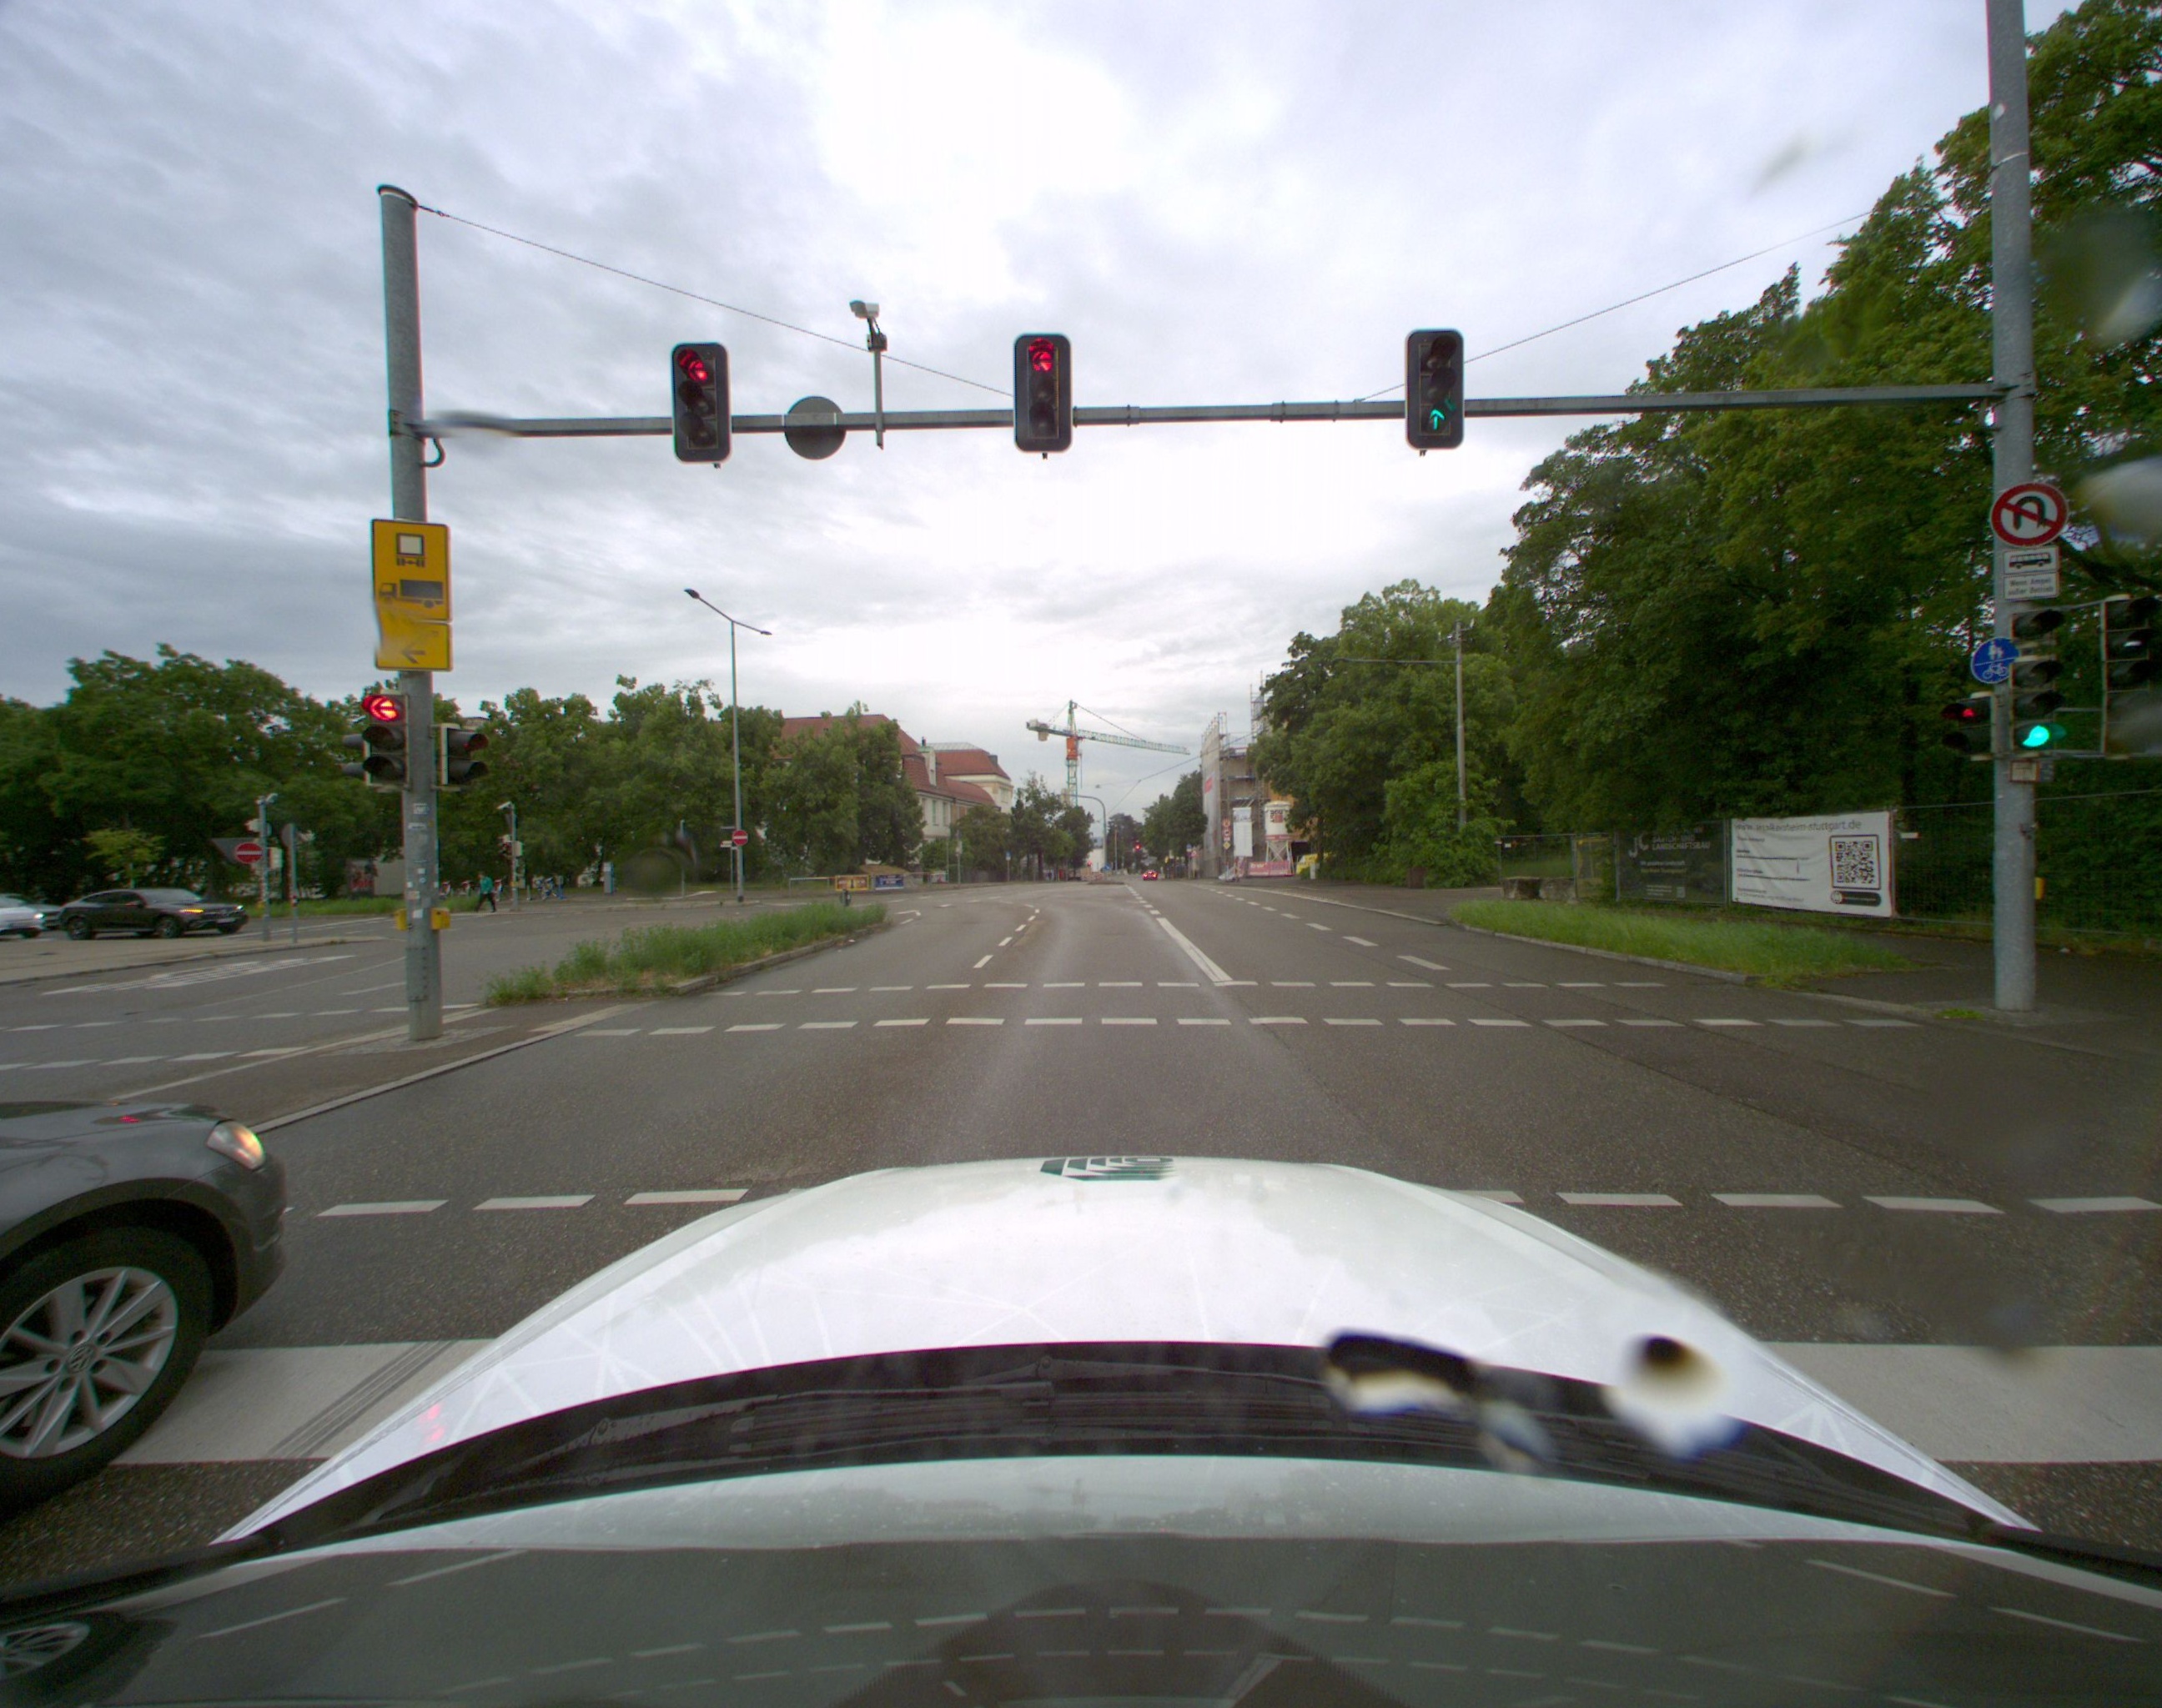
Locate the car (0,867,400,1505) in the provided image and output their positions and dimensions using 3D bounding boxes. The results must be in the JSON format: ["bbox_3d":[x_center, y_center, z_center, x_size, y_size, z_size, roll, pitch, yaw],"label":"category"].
[{"bbox_3d":[-3.491,0.807,0.818,1.809,1.481,4.378,-2,0,2],"label":"car"}]

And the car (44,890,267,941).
[{"bbox_3d":[-30.077,1.987,26.585,5.006,1.500,2.001,0,-1,1],"label":"car"}]

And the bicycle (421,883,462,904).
[{"bbox_3d":[-34.988,2.145,44.580,0.649,1.071,1.982,0,-1,2],"label":"bicycle"}]

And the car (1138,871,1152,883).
[{"bbox_3d":[10.197,3.659,130.655,1.986,1.750,4.001,-2,0,1],"label":"car"}]

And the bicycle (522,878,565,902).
[{"bbox_3d":[-29.436,1.957,44.614,0.987,1.249,1.982,0,-1,2],"label":"bicycle"}]

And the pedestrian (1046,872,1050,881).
[{"bbox_3d":[-5.153,3.441,126.866,0.473,1.396,0.411,-2,0,1],"label":"pedestrian"}]

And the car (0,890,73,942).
[{"bbox_3d":[-36.498,2.040,27.050,3.539,1.594,2.001,0,-1,1],"label":"car"}]

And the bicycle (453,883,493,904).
[{"bbox_3d":[-33.019,2.121,44.274,0.649,1.071,1.982,0,-1,2],"label":"bicycle"}]

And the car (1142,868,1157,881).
[{"bbox_3d":[10.511,3.147,124.842,1.986,1.750,4.001,-2,0,1],"label":"car"}]

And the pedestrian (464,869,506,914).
[{"bbox_3d":[-23.385,1.444,31.977,0.917,1.727,0.949,-1,-1,10],"label":"pedestrian"}]

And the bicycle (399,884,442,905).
[{"bbox_3d":[-35.965,2.181,44.365,0.649,1.071,1.982,0,-1,2],"label":"bicycle"}]

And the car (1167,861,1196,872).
[{"bbox_3d":[23.011,2.945,186.967,6.202,2.403,2.832,0,-1,-28],"label":"car"}]

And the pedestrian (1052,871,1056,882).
[{"bbox_3d":[-4.241,3.505,126.905,0.492,1.645,0.534,0,-1,1],"label":"pedestrian"}]

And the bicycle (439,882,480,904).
[{"bbox_3d":[-33.909,2.117,44.449,0.649,1.071,1.982,0,-1,2],"label":"bicycle"}]

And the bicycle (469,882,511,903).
[{"bbox_3d":[-32.270,2.070,44.506,0.798,1.071,1.982,0,-1,2],"label":"bicycle"}]

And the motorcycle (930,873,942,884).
[{"bbox_3d":[-11.631,1.980,65.329,0.846,0.877,0.877,0,-1,1],"label":"motorcycle"}]
